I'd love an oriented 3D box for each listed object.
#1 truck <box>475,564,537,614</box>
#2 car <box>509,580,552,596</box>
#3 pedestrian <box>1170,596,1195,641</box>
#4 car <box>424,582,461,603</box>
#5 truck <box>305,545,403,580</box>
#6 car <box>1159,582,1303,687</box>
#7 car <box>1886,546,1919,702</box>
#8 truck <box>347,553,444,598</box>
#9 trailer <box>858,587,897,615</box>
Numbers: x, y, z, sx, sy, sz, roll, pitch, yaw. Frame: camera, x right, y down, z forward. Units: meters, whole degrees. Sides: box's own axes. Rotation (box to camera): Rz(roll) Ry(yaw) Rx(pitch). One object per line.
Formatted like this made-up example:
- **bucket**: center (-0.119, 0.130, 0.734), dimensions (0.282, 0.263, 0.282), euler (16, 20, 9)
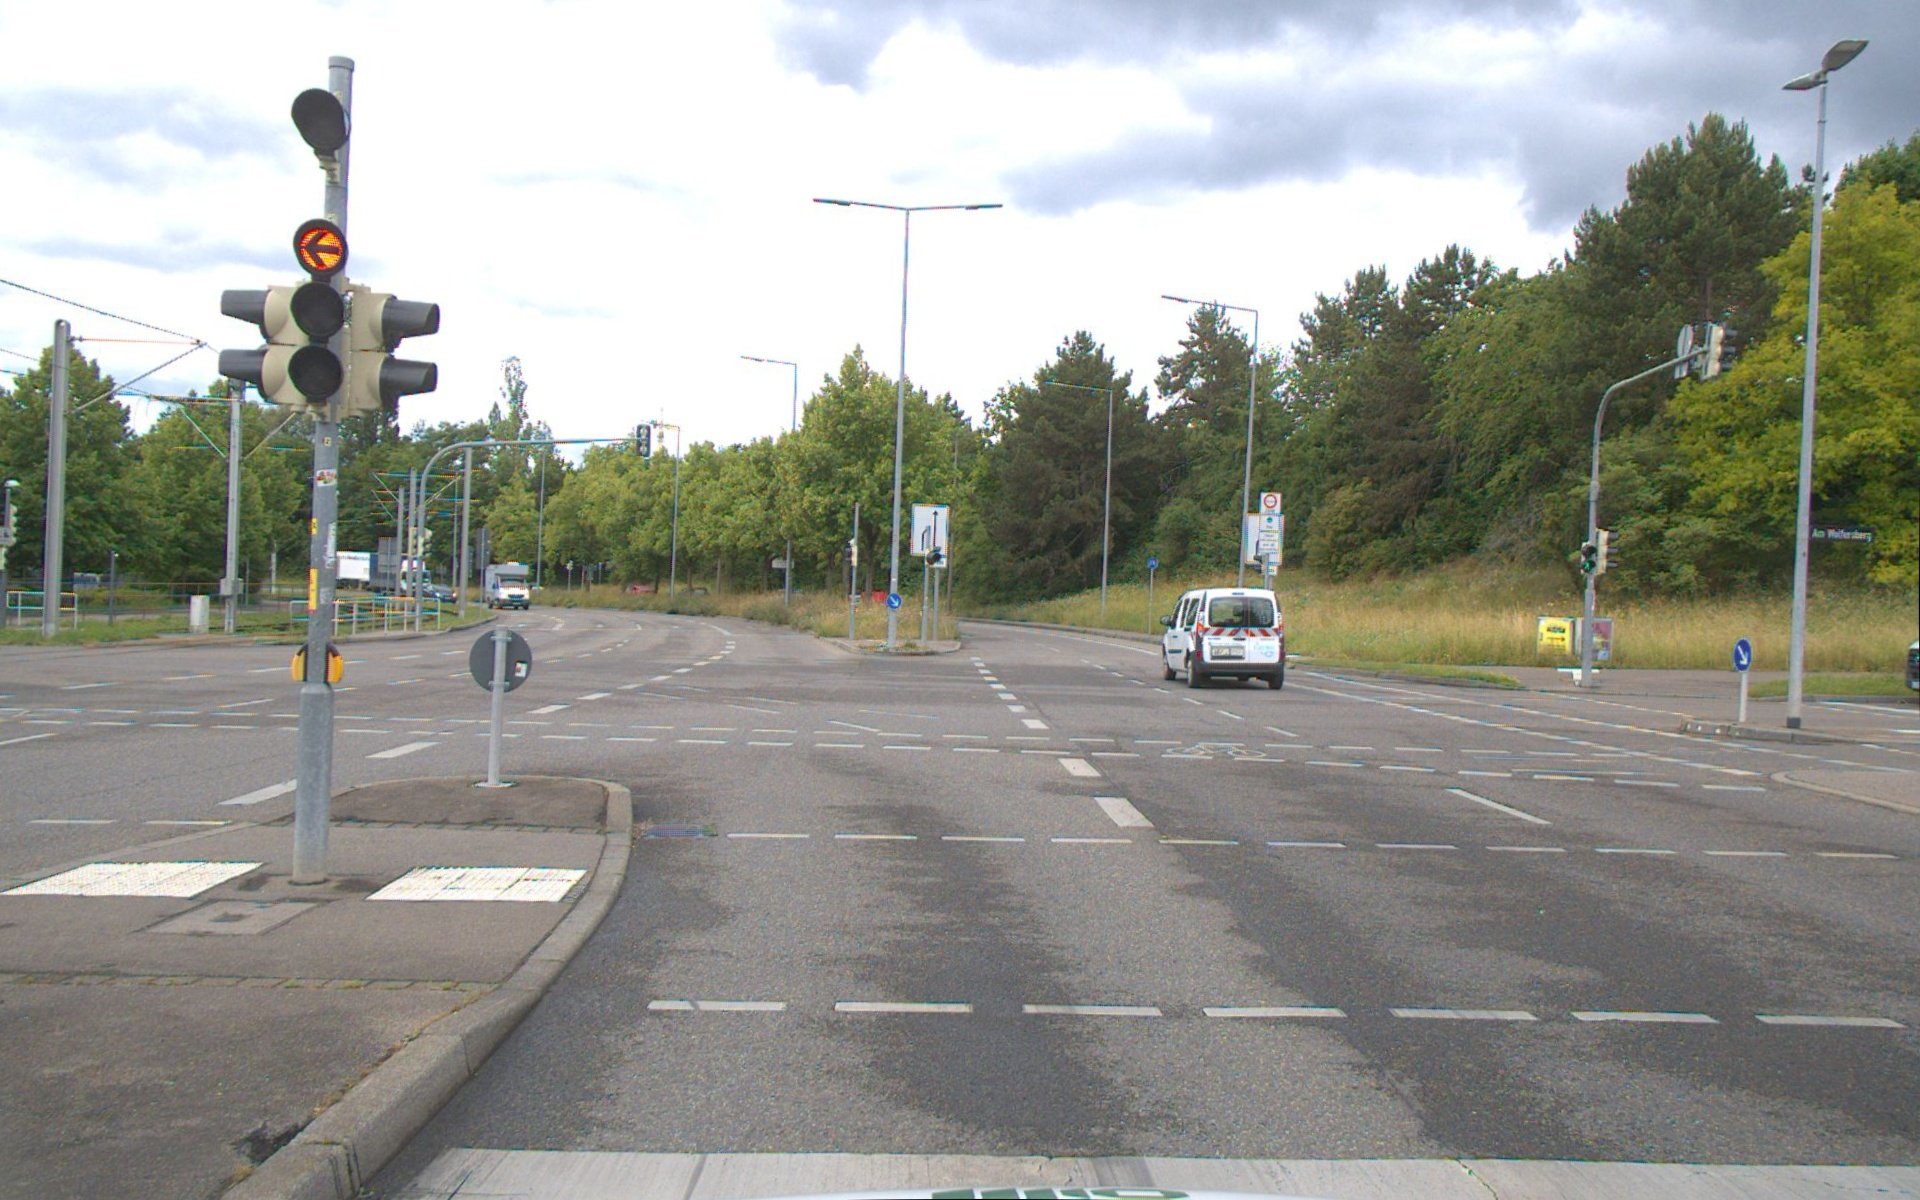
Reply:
- **truck**: center (-30.221, -0.741, 109.986), dimensions (2.098, 3.190, 5.825), euler (1, 0, -36)
- **car**: center (-39.286, -1.117, 151.250), dimensions (4.379, 1.446, 1.773), euler (1, 1, 42)
- **pedestrian**: center (8.317, 0.689, 61.927), dimensions (0.797, 1.656, 0.790), euler (1, 0, -1)
- **car**: center (-40.557, -0.625, 129.554), dimensions (1.763, 1.471, 4.480), euler (-1, 3, -31)
- **truck**: center (-61.442, -3.792, 167.624), dimensions (11.155, 3.387, 2.744), euler (1, 0, 29)
- **car**: center (5.071, 0.631, 31.593), dimensions (1.953, 1.833, 4.838), euler (0, 0, 0)
- **car**: center (20.339, 0.463, 30.095), dimensions (5.772, 2.830, 2.135), euler (0, 0, -1)
- **truck**: center (-50.616, -2.131, 148.069), dimensions (3.036, 3.826, 12.603), euler (1, 0, -44)
- **trailer**: center (-5.058, 0.029, 101.485), dimensions (1.736, 1.644, 3.031), euler (1, 0, -16)
